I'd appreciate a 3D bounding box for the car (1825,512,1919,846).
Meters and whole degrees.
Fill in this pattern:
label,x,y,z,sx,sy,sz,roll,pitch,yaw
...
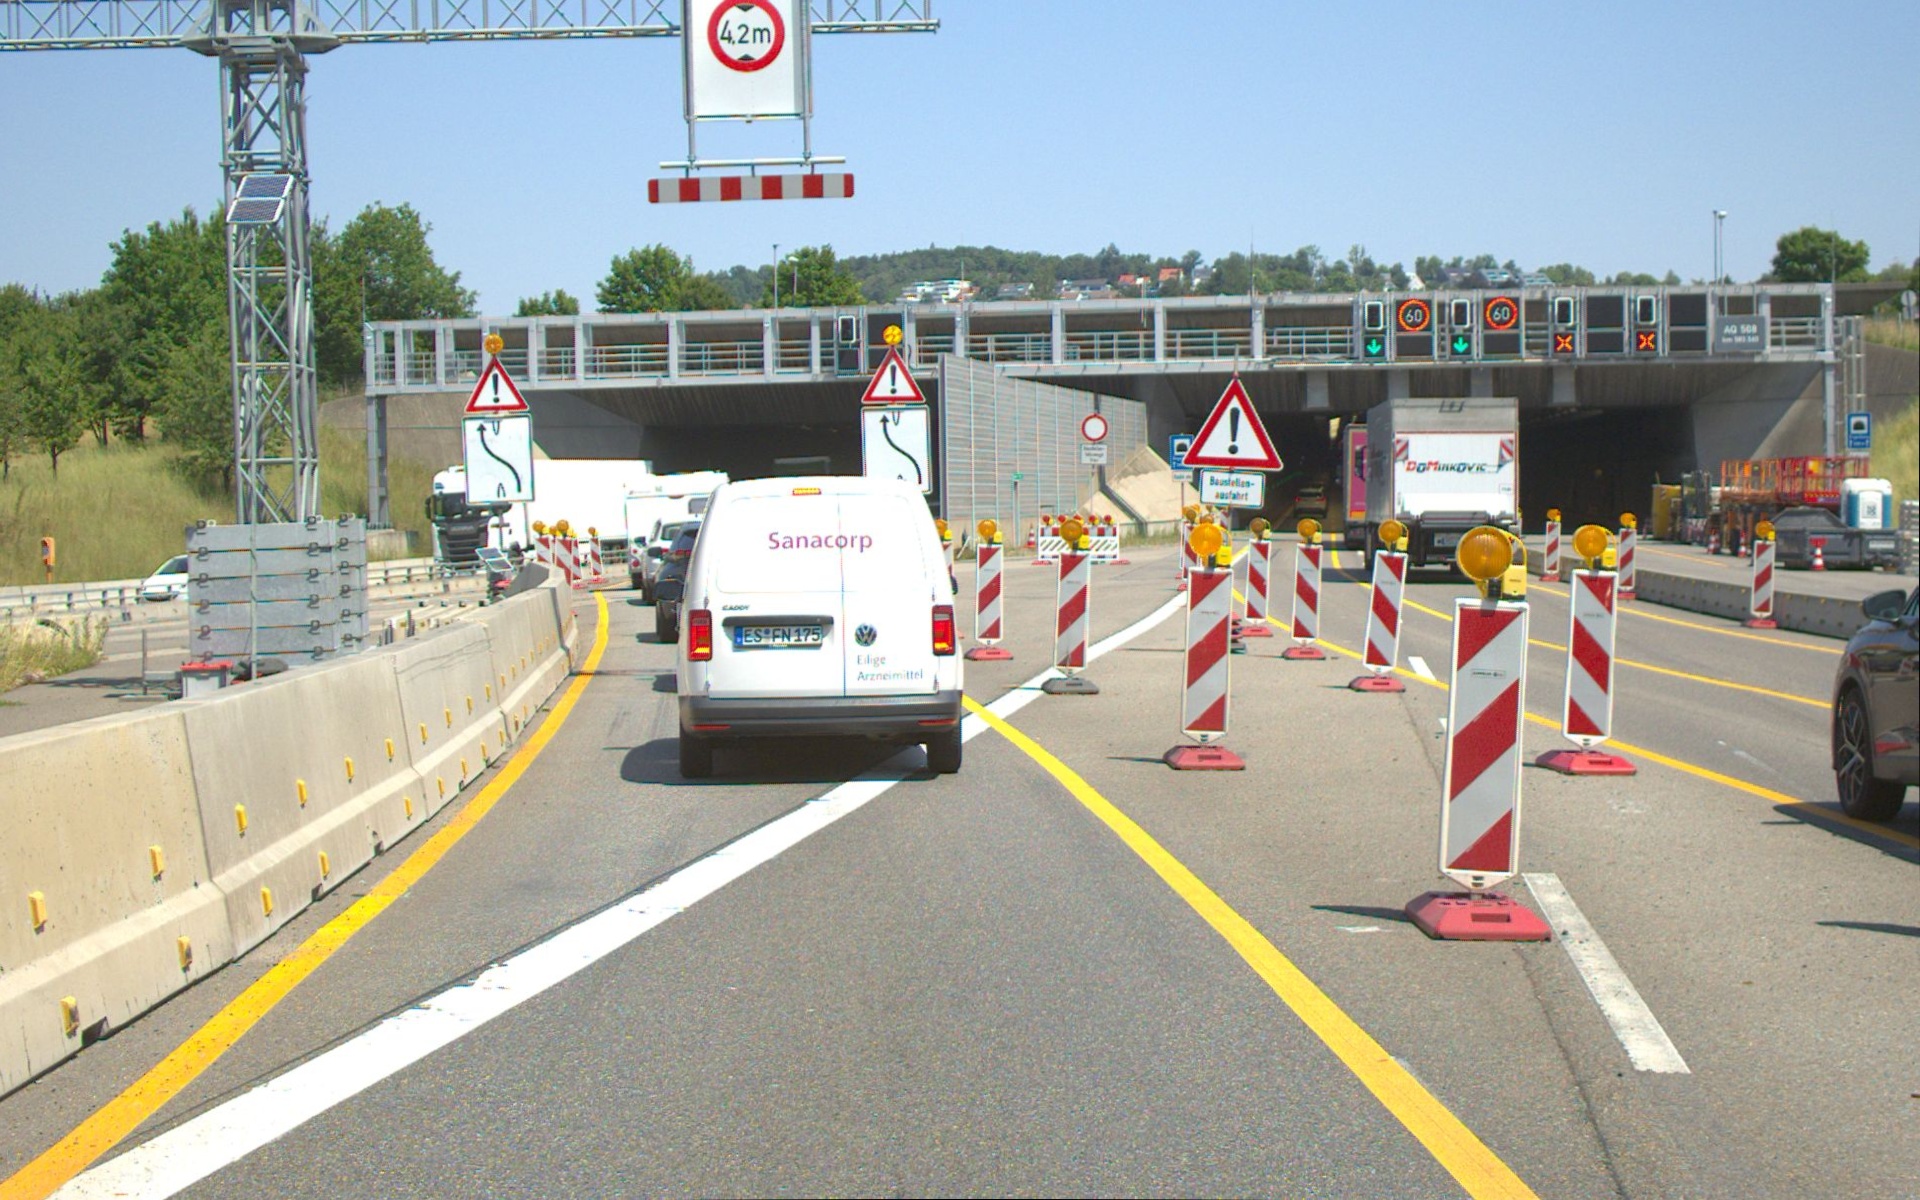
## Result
label,x,y,z,sx,sy,sz,roll,pitch,yaw
car,5.581,0.393,16.604,1.815,1.624,4.190,1,1,1

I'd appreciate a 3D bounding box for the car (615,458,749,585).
label,x,y,z,sx,sy,sz,roll,pitch,yaw
car,-6.377,-1.740,78.078,2.813,2.764,7.103,0,1,-6

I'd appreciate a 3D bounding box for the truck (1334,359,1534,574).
label,x,y,z,sx,sy,sz,roll,pitch,yaw
truck,10.487,-2.779,77.809,3.402,4.320,16.534,1,1,4

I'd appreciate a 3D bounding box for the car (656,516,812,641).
label,x,y,z,sx,sy,sz,roll,pitch,yaw
car,-3.065,-0.324,45.919,1.808,1.532,4.411,-2,1,-7

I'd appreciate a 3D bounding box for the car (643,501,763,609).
label,x,y,z,sx,sy,sz,roll,pitch,yaw
car,-4.641,-0.827,61.644,1.808,1.809,4.411,-2,1,-8

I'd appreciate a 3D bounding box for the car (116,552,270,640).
label,x,y,z,sx,sy,sz,roll,pitch,yaw
car,-18.234,-0.111,81.882,1.995,2.007,3.997,1,1,14

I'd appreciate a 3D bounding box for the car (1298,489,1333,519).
label,x,y,z,sx,sy,sz,roll,pitch,yaw
car,19.512,-5.266,188.833,1.815,1.624,4.190,1,1,4

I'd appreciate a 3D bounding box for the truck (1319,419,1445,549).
label,x,y,z,sx,sy,sz,roll,pitch,yaw
truck,14.151,-3.823,116.508,3.402,4.057,16.534,1,1,4

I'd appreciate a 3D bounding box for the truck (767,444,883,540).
label,x,y,z,sx,sy,sz,roll,pitch,yaw
truck,-6.080,-4.865,155.803,3.549,4.255,5.774,0,1,17

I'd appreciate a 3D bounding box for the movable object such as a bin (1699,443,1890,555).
label,x,y,z,sx,sy,sz,roll,pitch,yaw
movable object such as a bin,24.859,-2.990,103.288,3.111,3.000,14.700,-2,1,4

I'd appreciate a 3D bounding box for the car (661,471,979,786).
label,x,y,z,sx,sy,sz,roll,pitch,yaw
car,-0.966,0.126,22.010,1.808,1.788,3.732,-2,1,-5

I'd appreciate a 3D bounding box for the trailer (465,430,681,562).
label,x,y,z,sx,sy,sz,roll,pitch,yaw
trailer,-13.745,-3.732,124.090,2.666,4.484,14.921,1,2,14

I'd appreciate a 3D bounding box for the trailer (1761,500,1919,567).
label,x,y,z,sx,sy,sz,roll,pitch,yaw
trailer,22.731,-1.748,88.820,2.595,1.563,6.236,-2,2,1

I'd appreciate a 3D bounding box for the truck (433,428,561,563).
label,x,y,z,sx,sy,sz,roll,pitch,yaw
truck,-15.670,-3.537,116.580,2.666,4.484,4.840,1,1,15
